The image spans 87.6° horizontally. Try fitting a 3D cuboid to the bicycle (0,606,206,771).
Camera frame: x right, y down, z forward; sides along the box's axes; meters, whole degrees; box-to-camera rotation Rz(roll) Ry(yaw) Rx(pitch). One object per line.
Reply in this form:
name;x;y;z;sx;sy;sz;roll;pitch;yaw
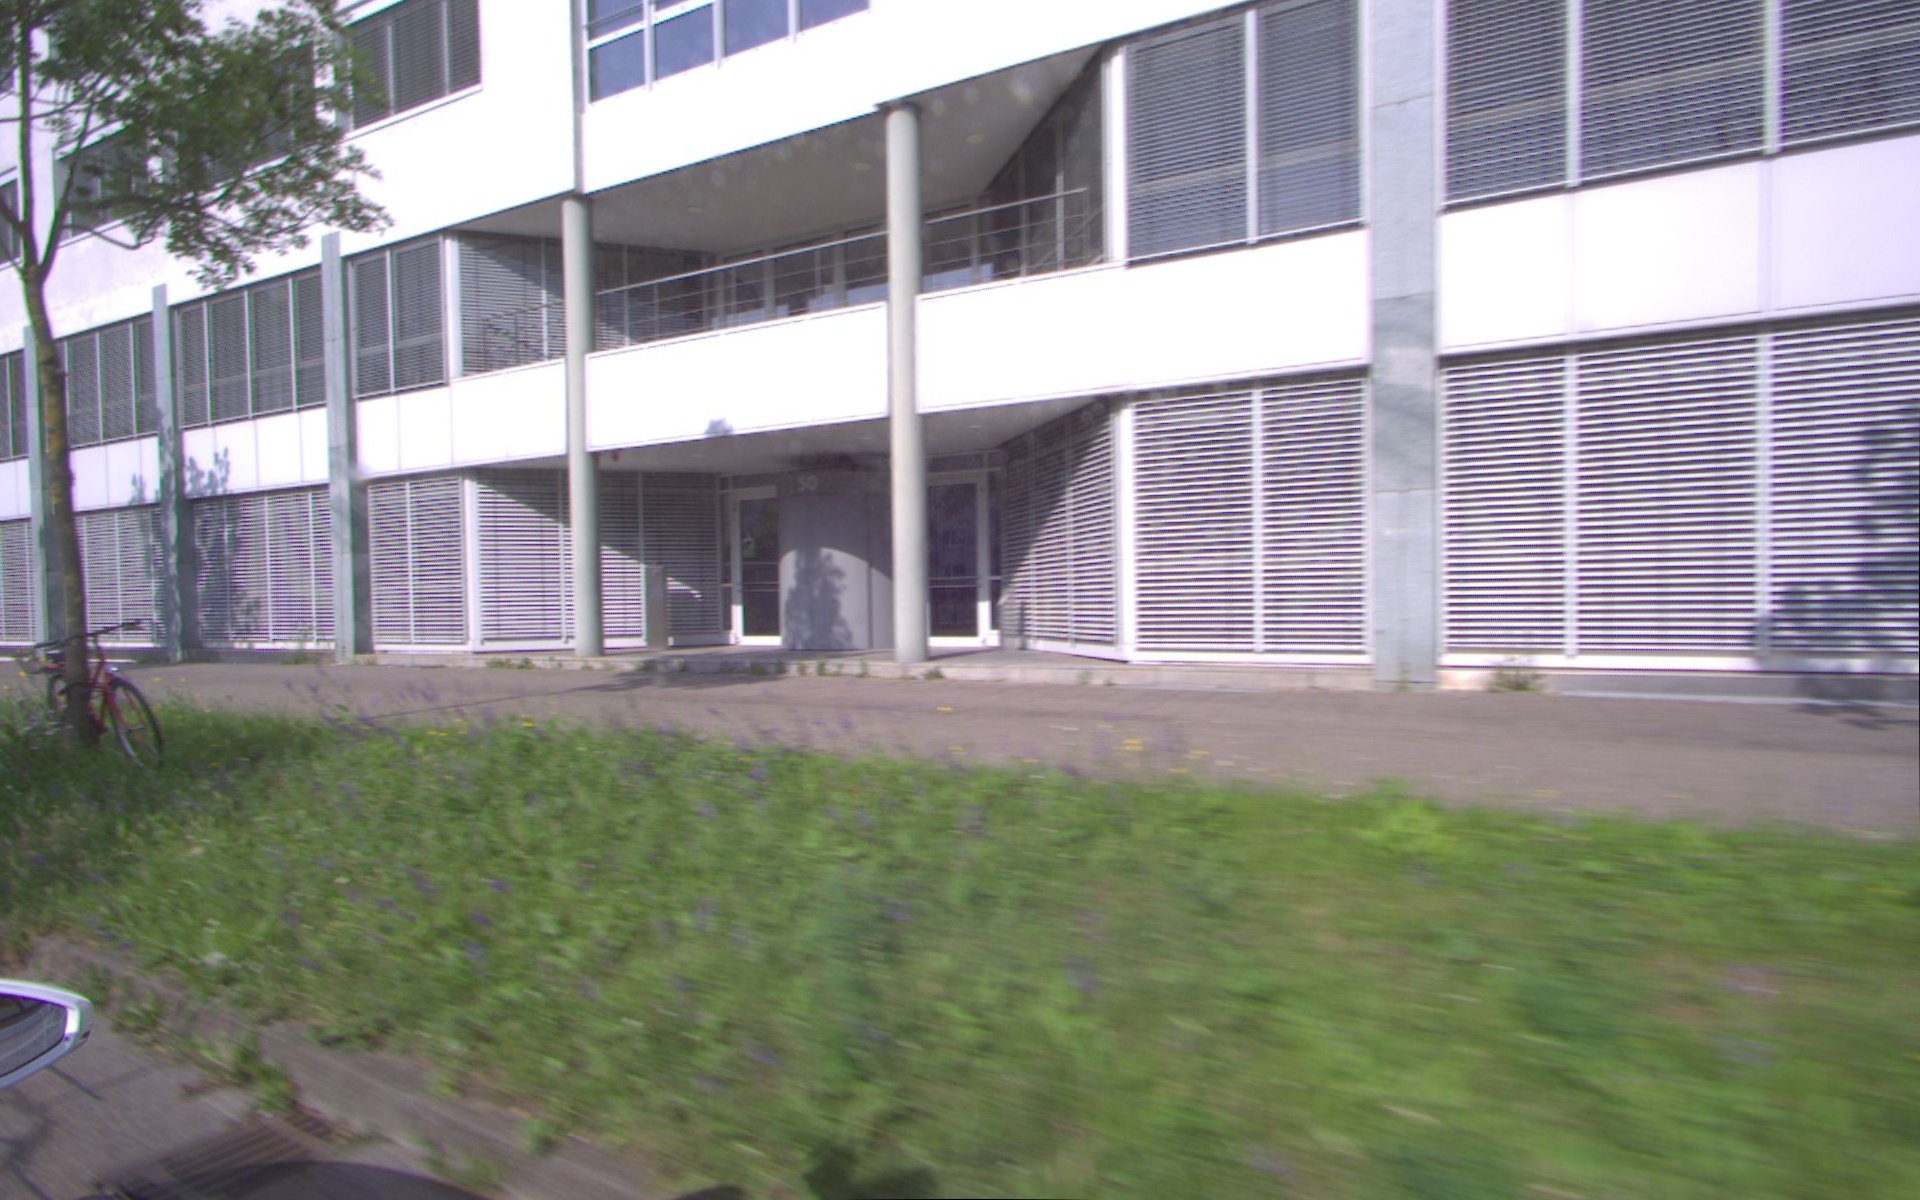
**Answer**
bicycle;-6.104;0.572;6.956;1.850;1.030;0.617;-1;0;27
